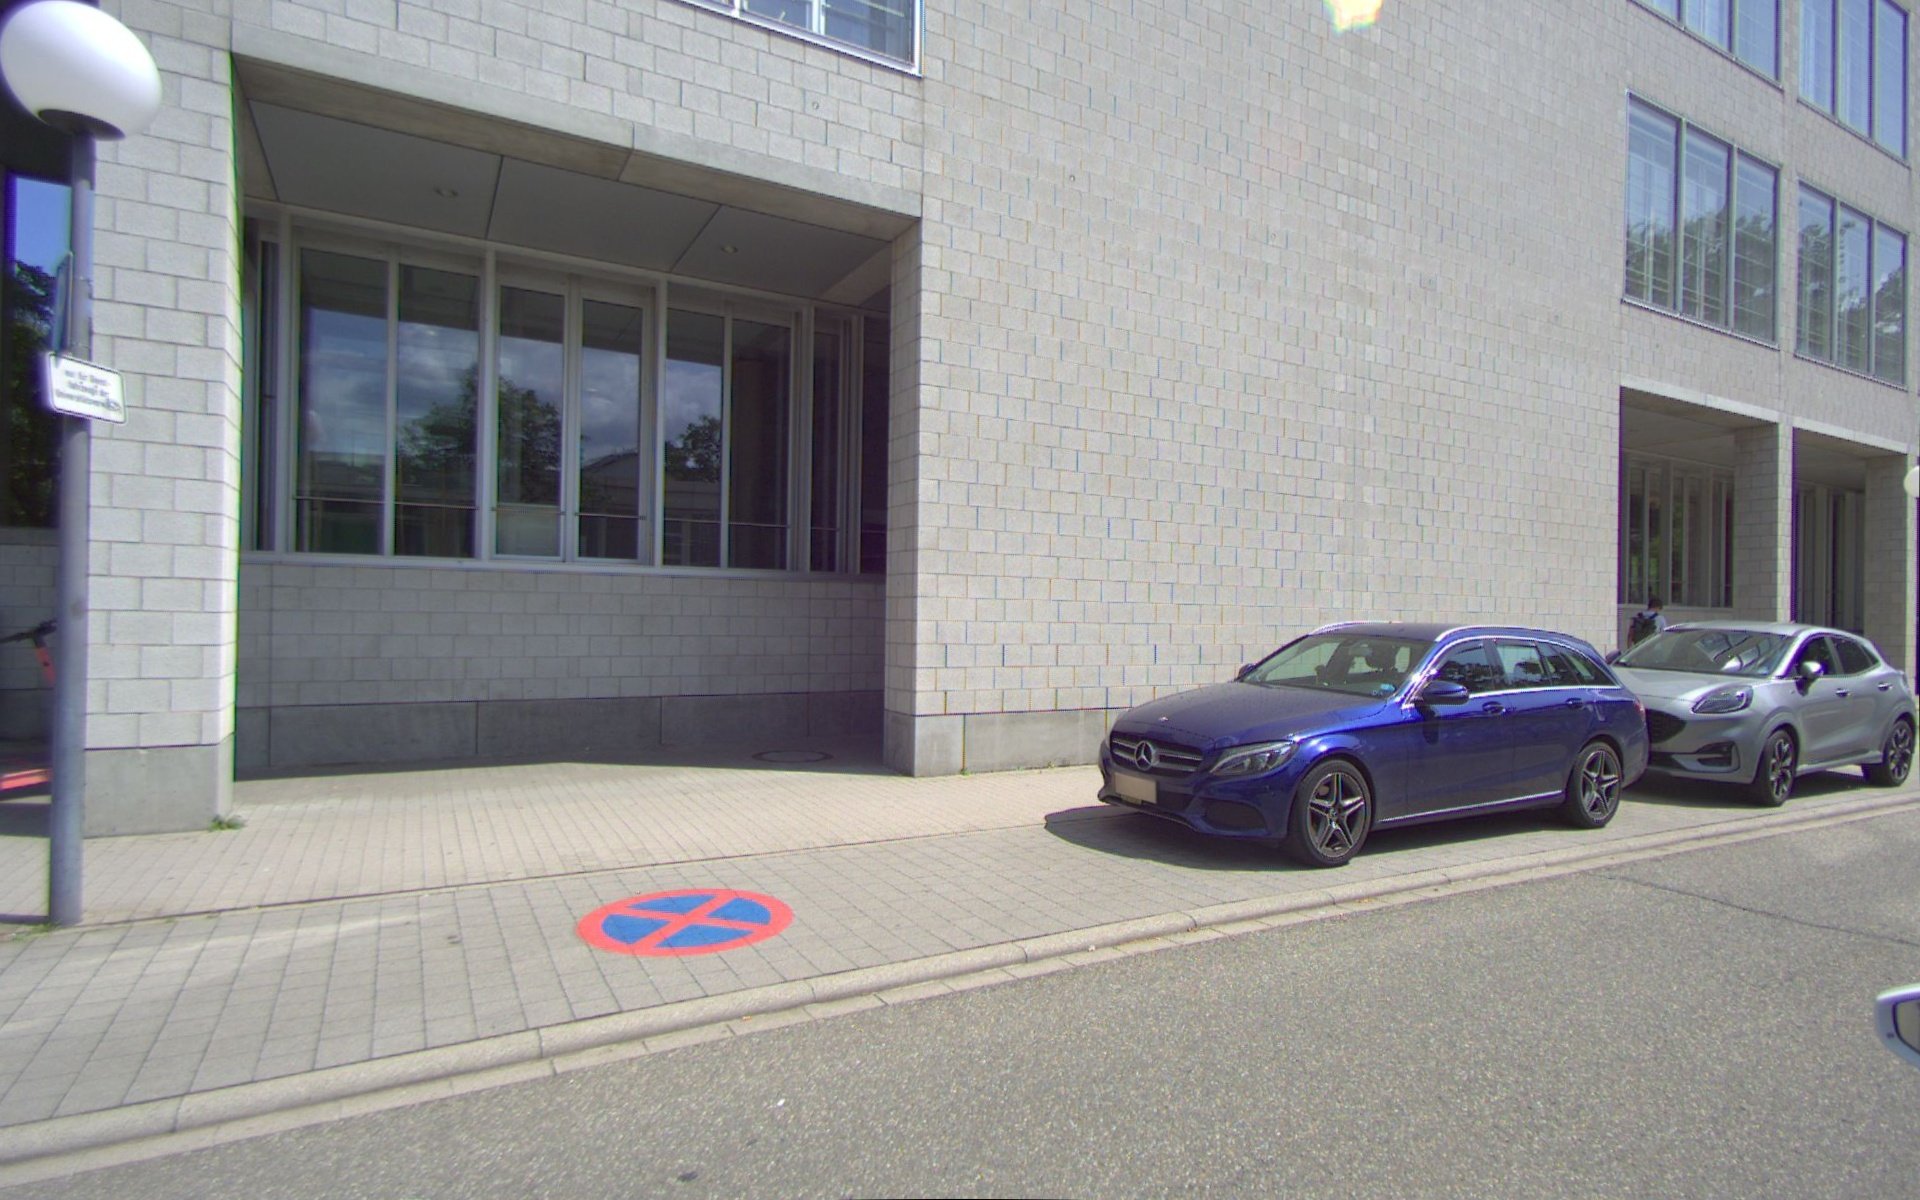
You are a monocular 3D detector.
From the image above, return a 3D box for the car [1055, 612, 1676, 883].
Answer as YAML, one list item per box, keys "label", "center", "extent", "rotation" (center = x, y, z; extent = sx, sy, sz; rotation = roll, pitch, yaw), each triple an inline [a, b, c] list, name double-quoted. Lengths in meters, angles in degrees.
- label: "car"
  center: [3.083, 0.862, 7.343]
  extent: [4.609, 1.442, 1.718]
  rotation: [1, 0, -30]

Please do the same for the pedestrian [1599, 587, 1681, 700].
- label: "pedestrian"
  center: [11.624, 0.727, 17.178]
  extent: [1.002, 1.863, 0.773]
  rotation: [1, 0, -30]

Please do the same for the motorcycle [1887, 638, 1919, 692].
- label: "motorcycle"
  center: [21.874, 1.466, 22.033]
  extent: [0.768, 1.153, 2.148]
  rotation: [1, 0, -39]

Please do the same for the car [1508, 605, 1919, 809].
- label: "car"
  center: [7.496, 0.926, 9.779]
  extent: [4.353, 1.555, 1.718]
  rotation: [2, 1, -30]

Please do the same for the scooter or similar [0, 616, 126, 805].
- label: "scooter or similar"
  center: [-6.568, 0.743, 6.963]
  extent: [0.393, 1.248, 1.216]
  rotation: [1, 0, 11]
